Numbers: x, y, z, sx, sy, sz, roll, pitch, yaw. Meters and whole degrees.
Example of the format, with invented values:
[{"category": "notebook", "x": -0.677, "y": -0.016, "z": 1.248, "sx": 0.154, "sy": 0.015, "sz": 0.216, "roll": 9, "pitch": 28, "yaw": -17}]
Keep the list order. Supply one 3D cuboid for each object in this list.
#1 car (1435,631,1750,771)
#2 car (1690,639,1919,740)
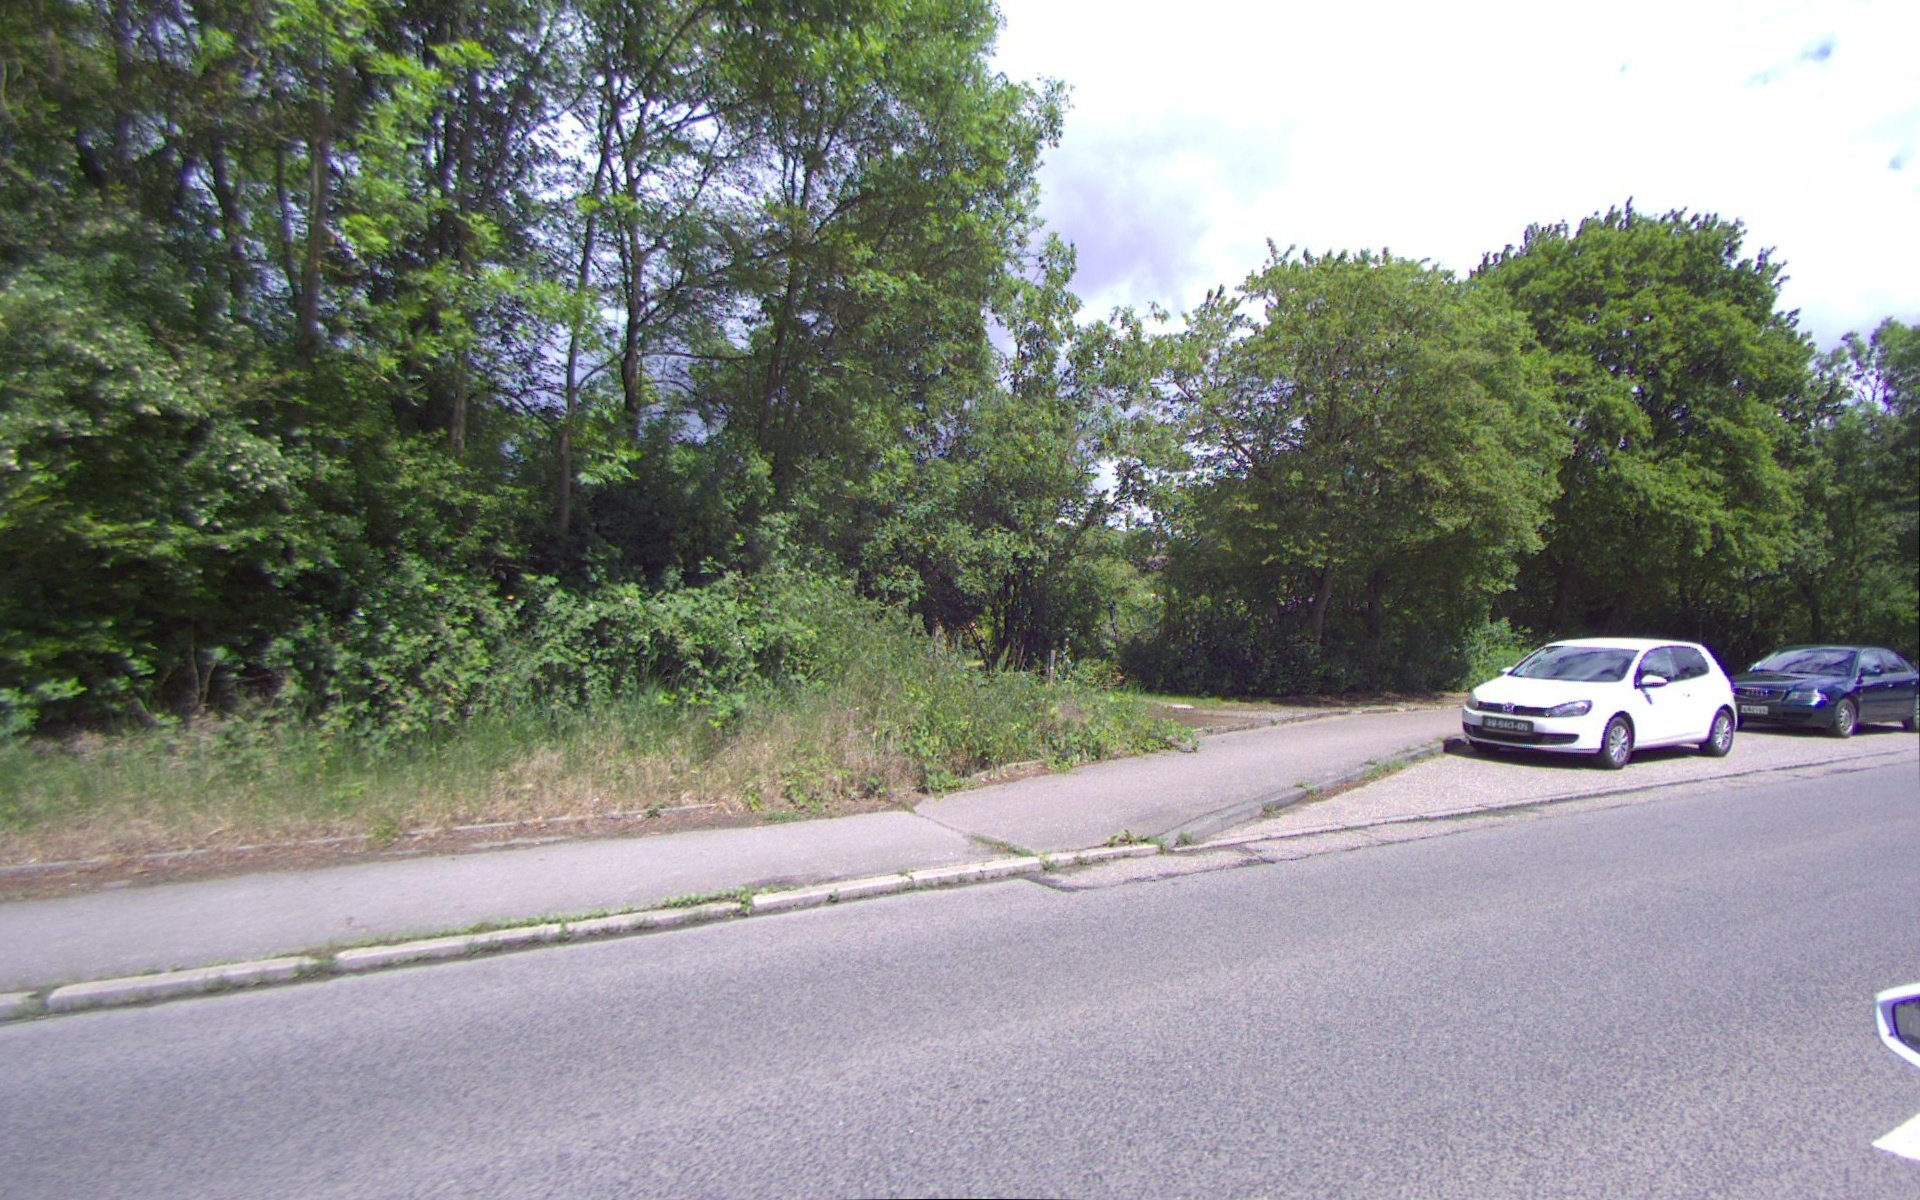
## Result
[{"category": "car", "x": 8.221, "y": 1.202, "z": 12.974, "sx": 4.198, "sy": 1.489, "sz": 1.759, "roll": 2, "pitch": 0, "yaw": -32}, {"category": "car", "x": 14.328, "y": 1.429, "z": 16.759, "sx": 4.210, "sy": 1.426, "sz": 1.761, "roll": 2, "pitch": 0, "yaw": -27}]
